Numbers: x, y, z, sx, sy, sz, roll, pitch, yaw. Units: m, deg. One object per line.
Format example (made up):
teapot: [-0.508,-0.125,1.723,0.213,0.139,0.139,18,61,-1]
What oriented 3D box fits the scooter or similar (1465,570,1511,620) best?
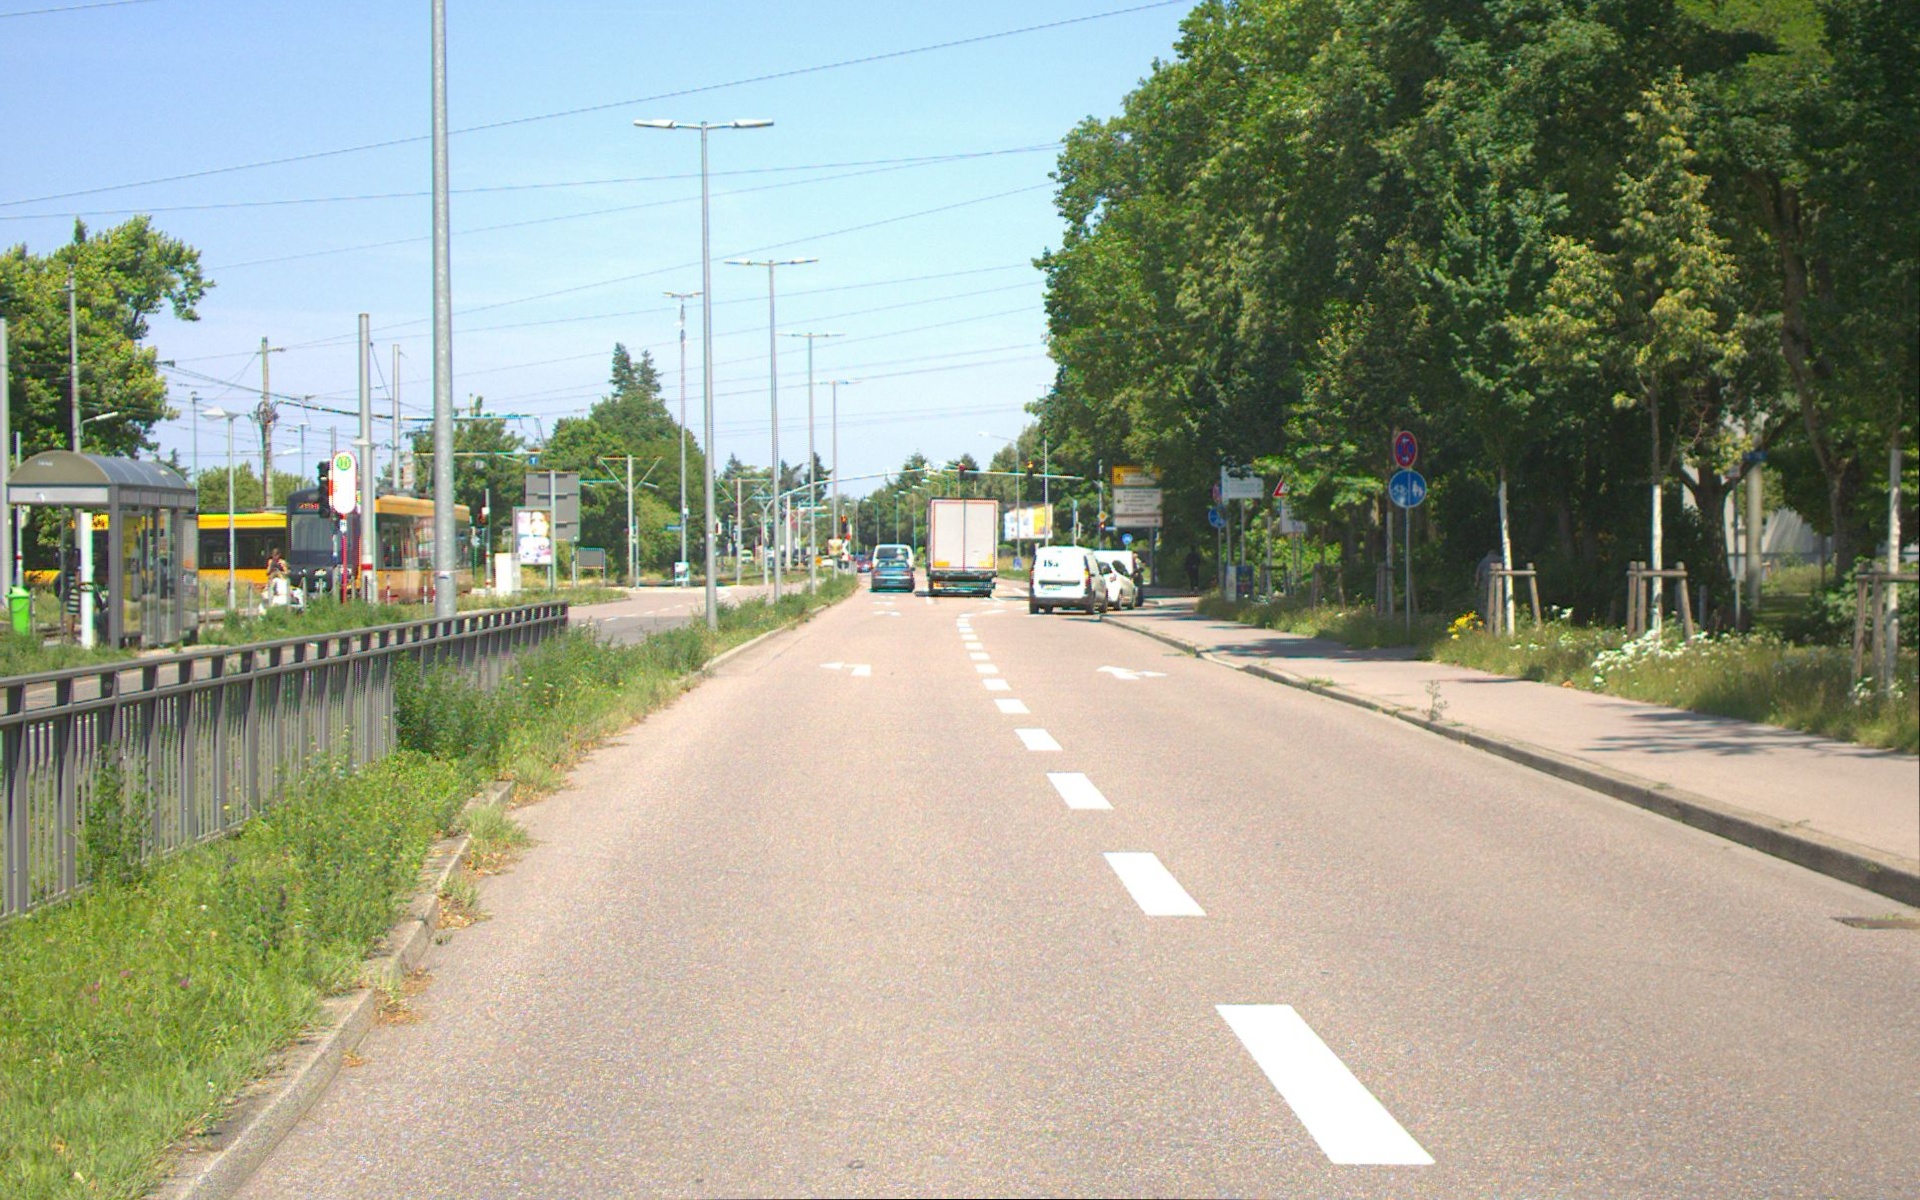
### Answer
scooter or similar: [9.561,-0.091,62.247,0.708,0.890,0.763,1,1,0]

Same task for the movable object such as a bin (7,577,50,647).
movable object such as a bin: [-13.177,0.166,48.634,0.481,0.974,0.645,0,1,-5]

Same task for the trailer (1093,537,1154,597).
trailer: [4.620,-0.944,97.379,1.468,1.663,2.856,1,1,-2]

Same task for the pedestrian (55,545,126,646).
pedestrian: [-13.683,-0.078,54.117,0.874,1.541,1.026,1,1,-3]

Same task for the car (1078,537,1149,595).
car: [4.483,-1.013,101.013,1.699,1.648,4.399,1,1,-2]

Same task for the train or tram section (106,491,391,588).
train or tram section: [-27.430,-2.365,132.032,12.736,3.454,3.040,2,1,37]

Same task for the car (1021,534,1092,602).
car: [2.558,-0.879,91.798,1.709,1.741,4.427,1,1,0]

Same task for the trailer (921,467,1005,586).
trailer: [0.055,-2.821,133.276,2.827,4.406,8.750,1,1,-2]

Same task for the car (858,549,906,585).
car: [-3.273,-1.396,144.205,1.892,1.367,4.430,2,1,-1]

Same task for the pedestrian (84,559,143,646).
pedestrian: [-12.813,0.030,52.058,0.701,1.279,0.840,1,1,-3]

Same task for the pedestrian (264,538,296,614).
pedestrian: [-14.077,-0.494,71.205,0.534,1.560,0.582,1,1,-2]

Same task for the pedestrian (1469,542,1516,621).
pedestrian: [9.562,-0.334,61.727,0.708,1.393,0.763,1,1,0]

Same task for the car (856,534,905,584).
car: [-3.508,-1.804,151.085,1.993,2.104,4.748,0,2,-3]

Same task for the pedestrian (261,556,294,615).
pedestrian: [-13.858,-0.298,69.799,0.580,1.185,0.536,1,1,-3]

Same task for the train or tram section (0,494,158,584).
train or tram section: [-39.127,-2.540,138.004,13.225,3.454,3.046,1,1,6]

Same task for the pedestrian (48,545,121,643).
pedestrian: [-14.053,-0.096,55.205,0.930,1.541,0.985,1,1,-3]
